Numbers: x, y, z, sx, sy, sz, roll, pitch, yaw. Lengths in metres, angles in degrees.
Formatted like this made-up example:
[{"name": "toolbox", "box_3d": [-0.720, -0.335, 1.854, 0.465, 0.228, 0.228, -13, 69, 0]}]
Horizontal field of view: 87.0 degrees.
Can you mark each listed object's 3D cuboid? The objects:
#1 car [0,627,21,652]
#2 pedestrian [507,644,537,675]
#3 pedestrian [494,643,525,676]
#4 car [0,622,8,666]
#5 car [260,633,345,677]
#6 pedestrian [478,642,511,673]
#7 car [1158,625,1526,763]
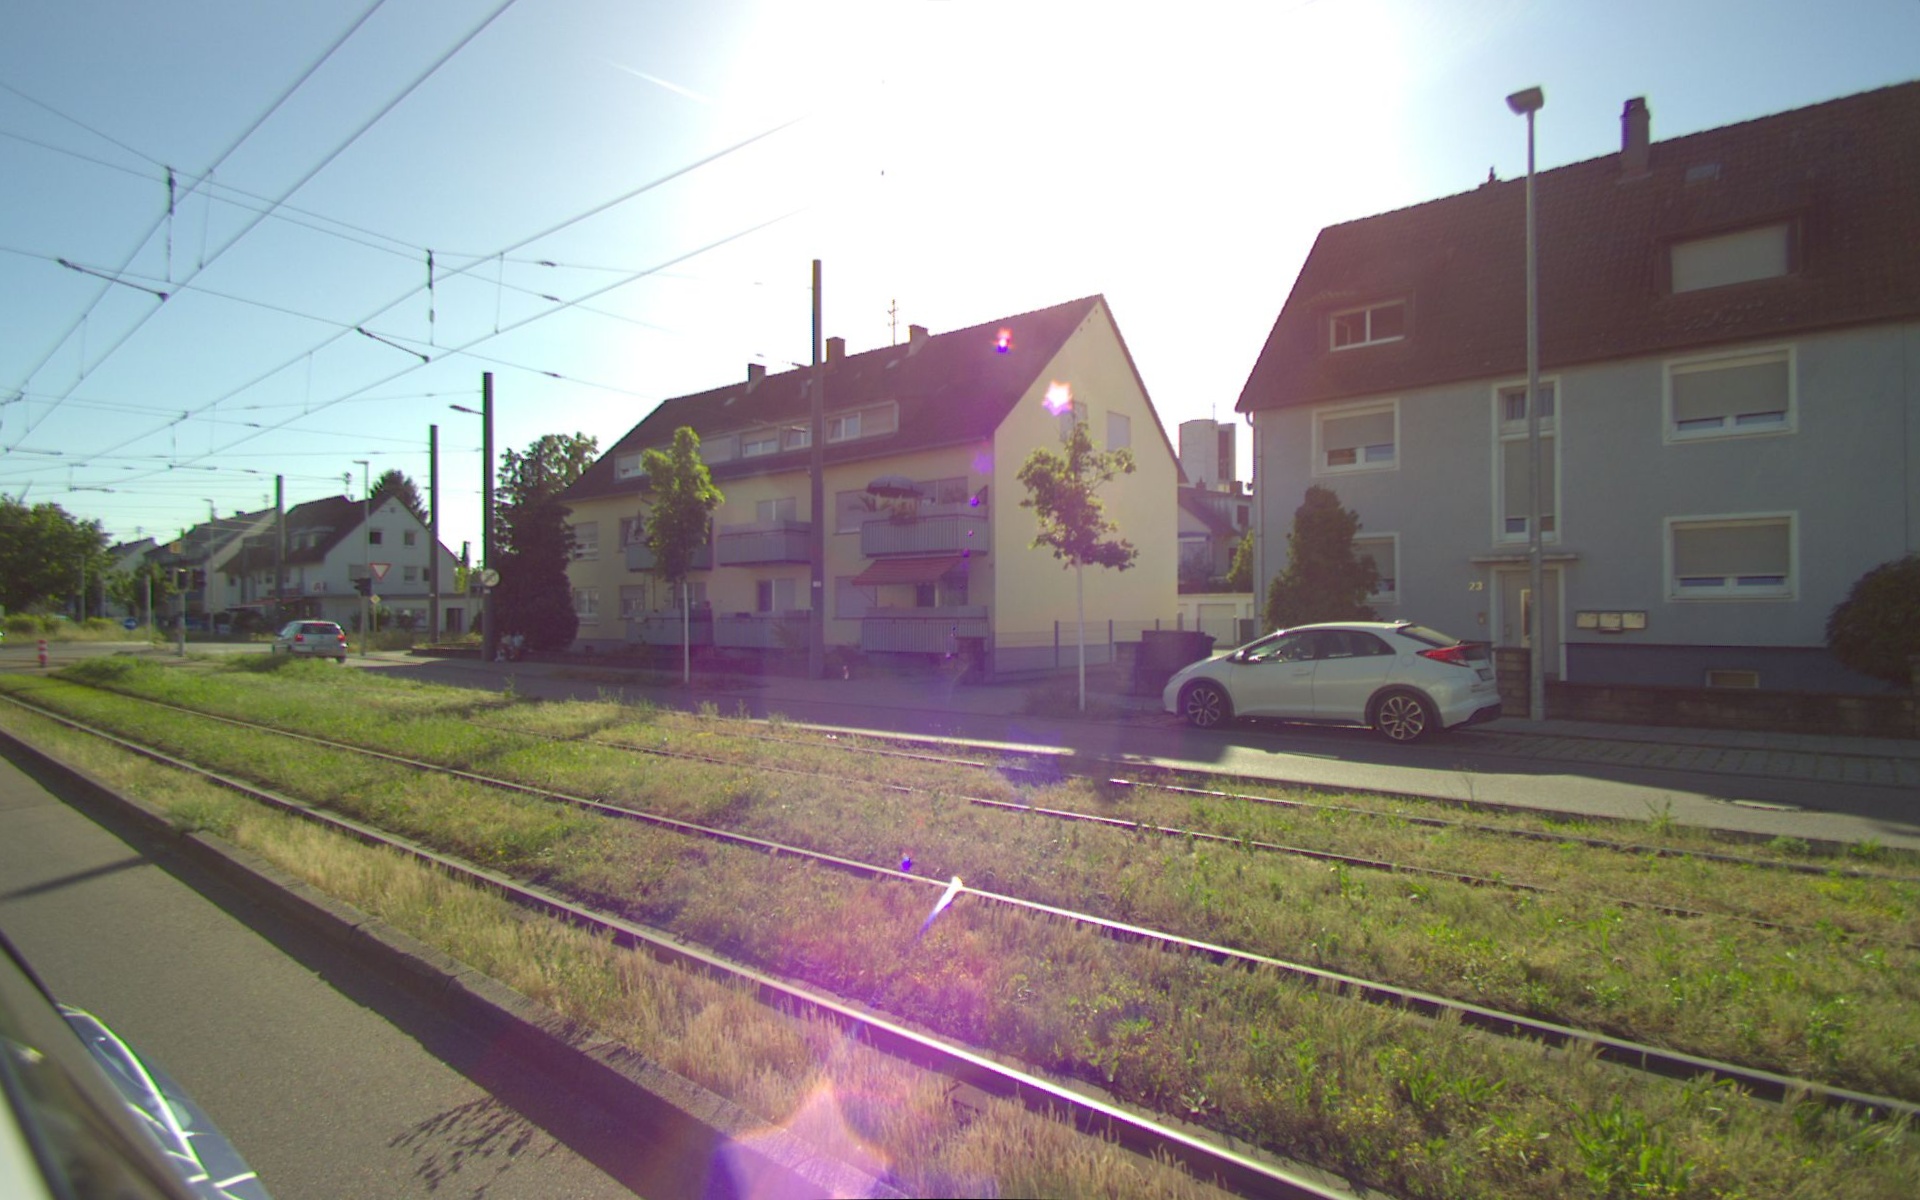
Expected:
[{"name": "car", "box_3d": [-84.891, 3.485, 89.638, 4.367, 2.030, 1.872, 1, -1, 40]}, {"name": "pedestrian", "box_3d": [-14.835, 2.020, 34.311, 0.590, 1.013, 0.720, 1, -1, 17]}, {"name": "pedestrian", "box_3d": [-15.446, 2.030, 34.688, 0.619, 1.073, 0.818, 1, -1, 8]}, {"name": "car", "box_3d": [-36.598, 1.583, 35.883, 3.936, 1.591, 1.834, 1, -2, -39]}, {"name": "car", "box_3d": [-22.350, 1.835, 34.348, 3.658, 1.422, 1.533, -2, -3, 42]}, {"name": "pedestrian", "box_3d": [-16.161, 1.991, 35.171, 0.687, 1.054, 0.809, 0, -2, 38]}, {"name": "car", "box_3d": [4.872, 1.109, 13.307, 4.213, 1.529, 1.674, -2, -3, 43]}]
